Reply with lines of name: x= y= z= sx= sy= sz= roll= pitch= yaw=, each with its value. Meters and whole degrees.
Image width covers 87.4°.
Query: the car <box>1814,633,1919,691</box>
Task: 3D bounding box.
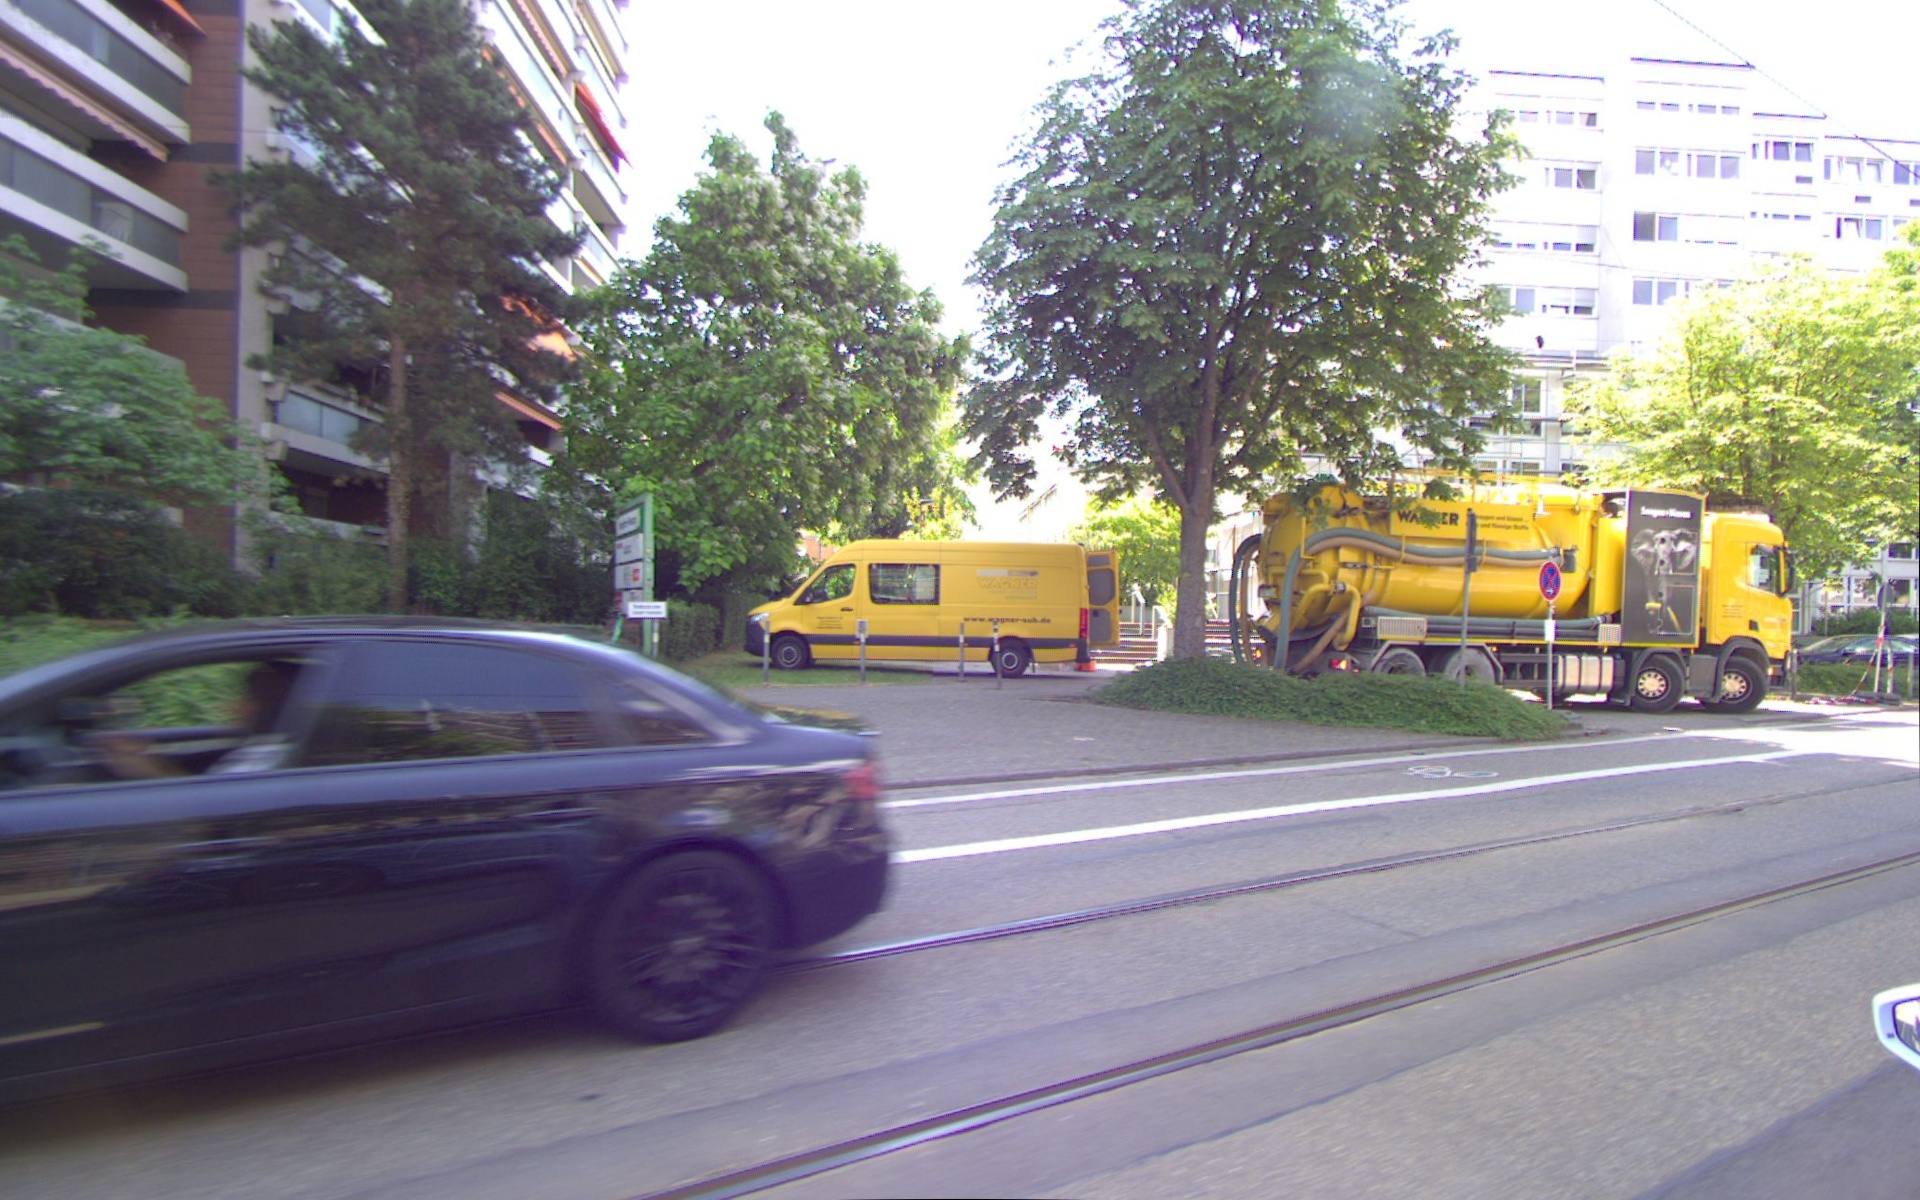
car: x=26.530 y=1.710 z=27.696 sx=4.120 sy=1.526 sz=1.875 roll=0 pitch=-2 yaw=19

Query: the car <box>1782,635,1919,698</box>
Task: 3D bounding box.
car: x=23.781 y=1.697 z=25.863 sx=3.634 sy=1.526 sz=1.764 roll=0 pitch=-2 yaw=13

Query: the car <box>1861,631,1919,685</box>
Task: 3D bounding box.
car: x=29.092 y=1.707 z=29.429 sx=3.634 sy=1.564 sz=1.693 roll=0 pitch=-2 yaw=15

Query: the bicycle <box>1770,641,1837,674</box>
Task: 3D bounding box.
bicycle: x=31.627 y=2.150 z=37.706 sx=0.547 sy=1.089 sz=2.135 roll=2 pitch=1 yaw=-5

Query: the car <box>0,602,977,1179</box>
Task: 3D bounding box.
car: x=-2.202 y=0.735 z=3.574 sx=4.236 sy=1.416 sz=1.766 roll=1 pitch=-1 yaw=-30

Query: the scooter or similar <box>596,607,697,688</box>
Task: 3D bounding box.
scooter or similar: x=-4.594 y=0.690 z=14.744 sx=1.351 sy=1.139 sz=0.382 roll=1 pitch=1 yaw=-26

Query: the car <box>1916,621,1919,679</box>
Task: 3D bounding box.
car: x=34.817 y=1.673 z=32.954 sx=4.660 sy=1.960 sz=1.923 roll=0 pitch=-2 yaw=13

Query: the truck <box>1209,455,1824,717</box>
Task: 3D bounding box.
truck: x=10.003 y=-0.054 z=17.942 sx=10.786 sy=3.893 sz=2.714 roll=2 pitch=1 yaw=-17

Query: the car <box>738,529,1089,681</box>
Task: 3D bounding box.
car: x=-0.889 y=0.102 z=20.243 sx=6.592 sy=2.599 sz=2.185 roll=3 pitch=0 yaw=0
